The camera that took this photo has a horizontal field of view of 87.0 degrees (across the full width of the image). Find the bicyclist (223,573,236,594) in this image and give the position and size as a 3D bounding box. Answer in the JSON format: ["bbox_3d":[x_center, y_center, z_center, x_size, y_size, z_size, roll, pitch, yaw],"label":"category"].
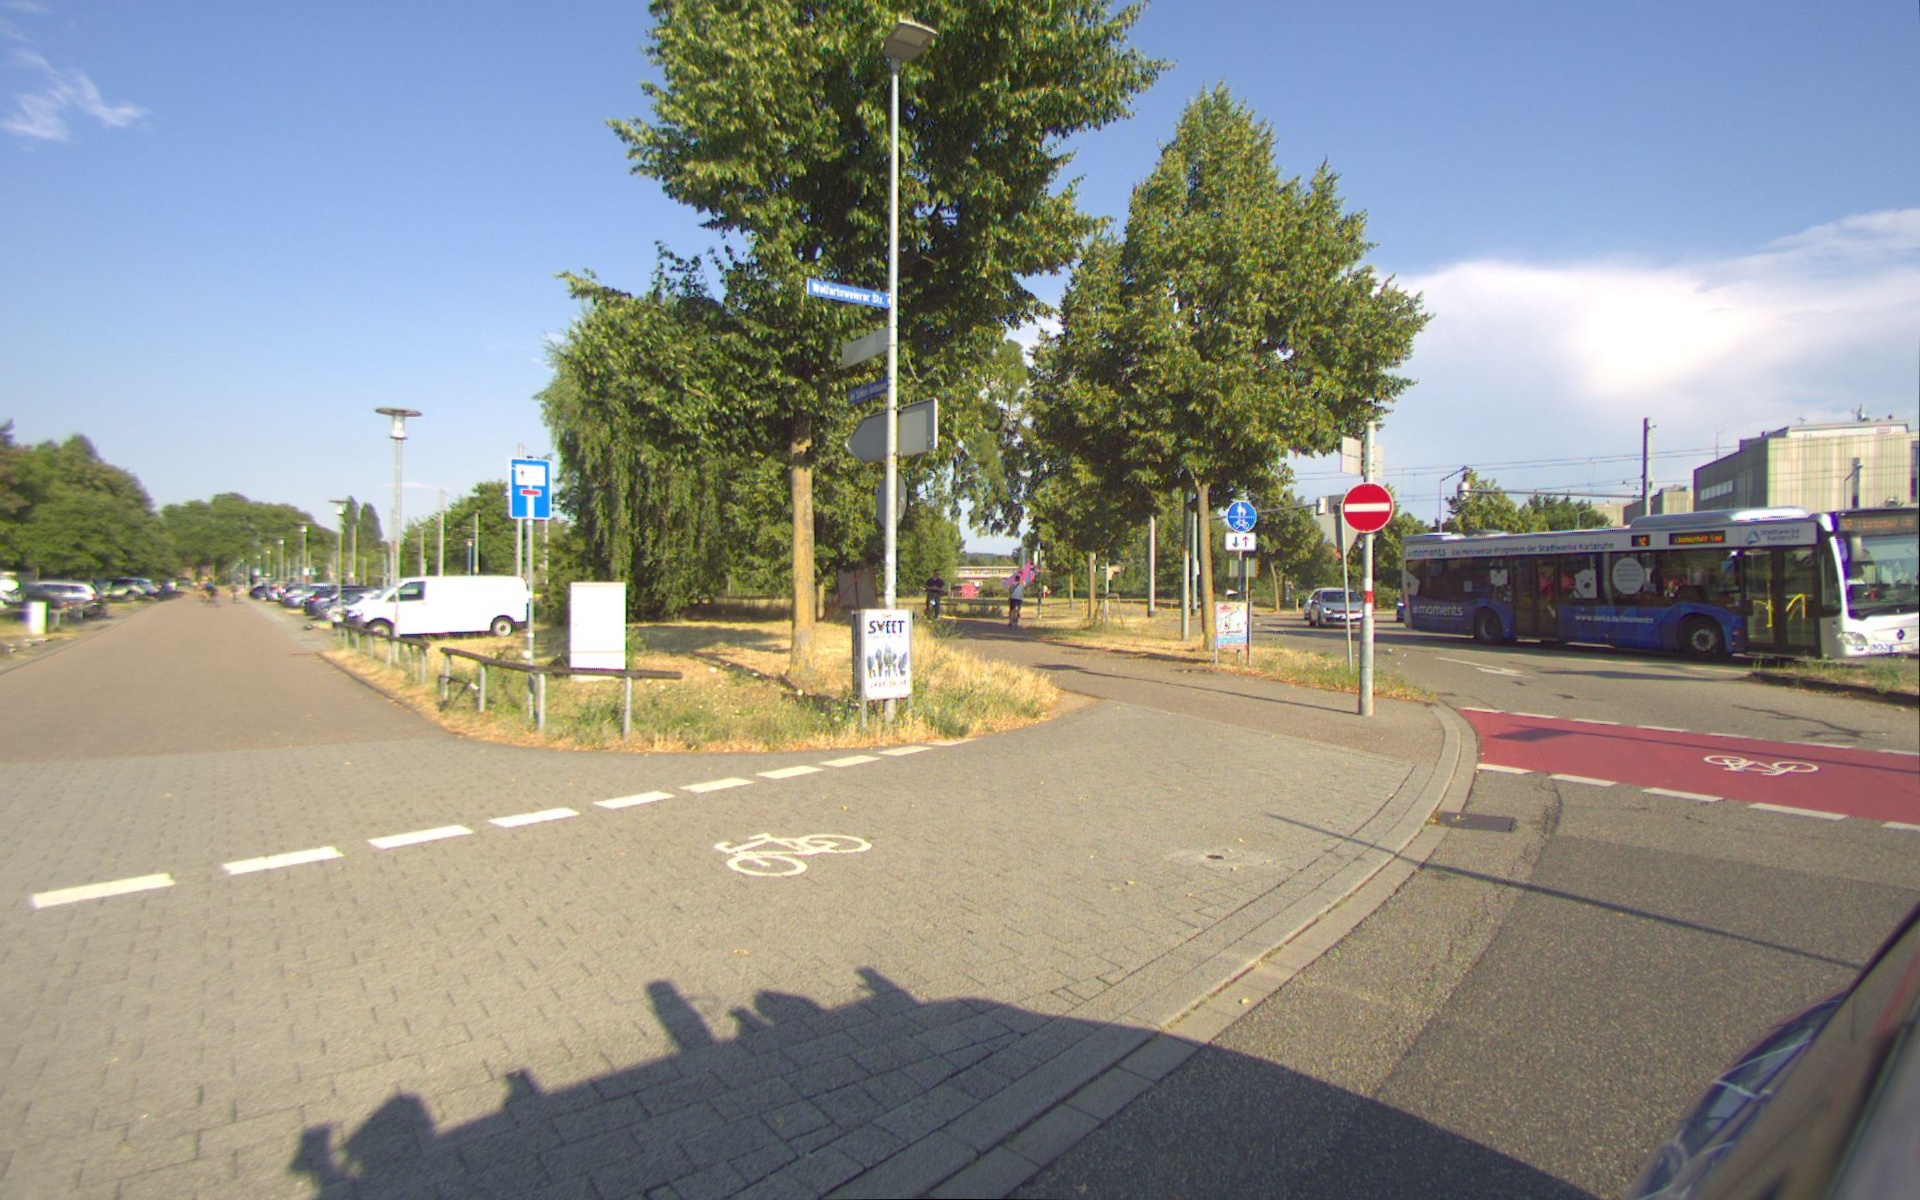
[{"bbox_3d":[-55.215,-1.246,76.446,0.737,1.544,0.892,0,1,-41],"label":"bicyclist"}]

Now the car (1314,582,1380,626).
[{"bbox_3d":[14.673,0.117,38.229,1.980,1.542,3.964,1,1,26],"label":"car"}]

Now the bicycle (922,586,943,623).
[{"bbox_3d":[-0.867,0.127,32.303,0.628,1.137,2.126,0,1,-1],"label":"bicycle"}]

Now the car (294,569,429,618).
[{"bbox_3d":[-26.681,-0.335,45.161,4.965,2.039,2.269,-1,1,-37],"label":"car"}]

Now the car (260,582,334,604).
[{"bbox_3d":[-53.969,-0.564,82.406,4.965,1.724,2.269,-1,1,-37],"label":"car"}]

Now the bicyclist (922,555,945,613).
[{"bbox_3d":[-0.849,-0.501,32.350,0.714,1.823,0.939,0,0,-2],"label":"bicyclist"}]

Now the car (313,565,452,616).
[{"bbox_3d":[-24.725,-0.441,43.410,4.965,2.039,2.269,-1,1,-37],"label":"car"}]

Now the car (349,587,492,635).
[{"bbox_3d":[-17.721,0.309,33.291,3.926,1.461,1.870,-1,1,-37],"label":"car"}]

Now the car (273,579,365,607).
[{"bbox_3d":[-42.317,-0.487,66.819,4.965,1.724,2.269,-1,1,-37],"label":"car"}]

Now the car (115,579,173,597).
[{"bbox_3d":[-71.185,-1.031,88.380,3.927,1.549,1.998,0,1,-38],"label":"car"}]

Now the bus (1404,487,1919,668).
[{"bbox_3d":[15.510,-0.480,23.587,2.610,3.100,12.204,0,1,-13],"label":"bus"}]

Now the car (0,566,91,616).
[{"bbox_3d":[-34.816,-0.349,37.454,3.927,1.816,1.892,0,1,-39],"label":"car"}]

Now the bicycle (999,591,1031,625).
[{"bbox_3d":[1.849,0.247,33.663,0.528,1.068,1.900,0,1,21],"label":"bicycle"}]

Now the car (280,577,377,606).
[{"bbox_3d":[-39.311,-0.562,63.060,4.965,1.724,2.269,-1,1,-37],"label":"car"}]

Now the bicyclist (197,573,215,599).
[{"bbox_3d":[-48.040,-0.906,64.469,0.931,1.612,0.811,1,1,44],"label":"bicyclist"}]

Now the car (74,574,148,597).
[{"bbox_3d":[-59.608,-1.023,71.159,3.927,1.549,1.998,0,1,-38],"label":"car"}]

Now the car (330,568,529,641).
[{"bbox_3d":[-16.276,0.073,31.149,5.123,2.038,2.269,-2,2,-37],"label":"car"}]

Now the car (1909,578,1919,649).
[{"bbox_3d":[21.356,0.281,19.318,1.774,1.454,4.394,0,1,-27],"label":"car"}]

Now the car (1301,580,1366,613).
[{"bbox_3d":[18.683,-0.181,50.538,1.902,1.570,3.993,1,1,38],"label":"car"}]

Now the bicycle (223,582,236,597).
[{"bbox_3d":[-55.192,-0.815,76.416,0.611,1.089,2.402,0,1,-41],"label":"bicycle"}]

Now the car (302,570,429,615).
[{"bbox_3d":[-28.077,-0.405,47.875,4.965,2.039,2.269,-1,1,-37],"label":"car"}]

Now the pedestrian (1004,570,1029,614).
[{"bbox_3d":[1.883,-0.276,33.682,0.645,1.409,0.762,2,1,20],"label":"pedestrian"}]

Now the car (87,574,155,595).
[{"bbox_3d":[-63.835,-1.194,77.101,3.927,1.549,1.998,0,1,-38],"label":"car"}]

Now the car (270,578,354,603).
[{"bbox_3d":[-46.772,-0.741,73.129,4.965,1.724,2.269,-1,1,-37],"label":"car"}]

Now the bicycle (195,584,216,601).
[{"bbox_3d":[-48.218,-0.492,64.657,2.530,1.094,0.666,1,1,44],"label":"bicycle"}]

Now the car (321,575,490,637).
[{"bbox_3d":[-19.514,0.130,35.715,4.965,2.039,2.269,-1,1,-37],"label":"car"}]

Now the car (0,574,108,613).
[{"bbox_3d":[-37.725,-0.282,41.689,3.927,1.549,1.998,0,1,-38],"label":"car"}]
